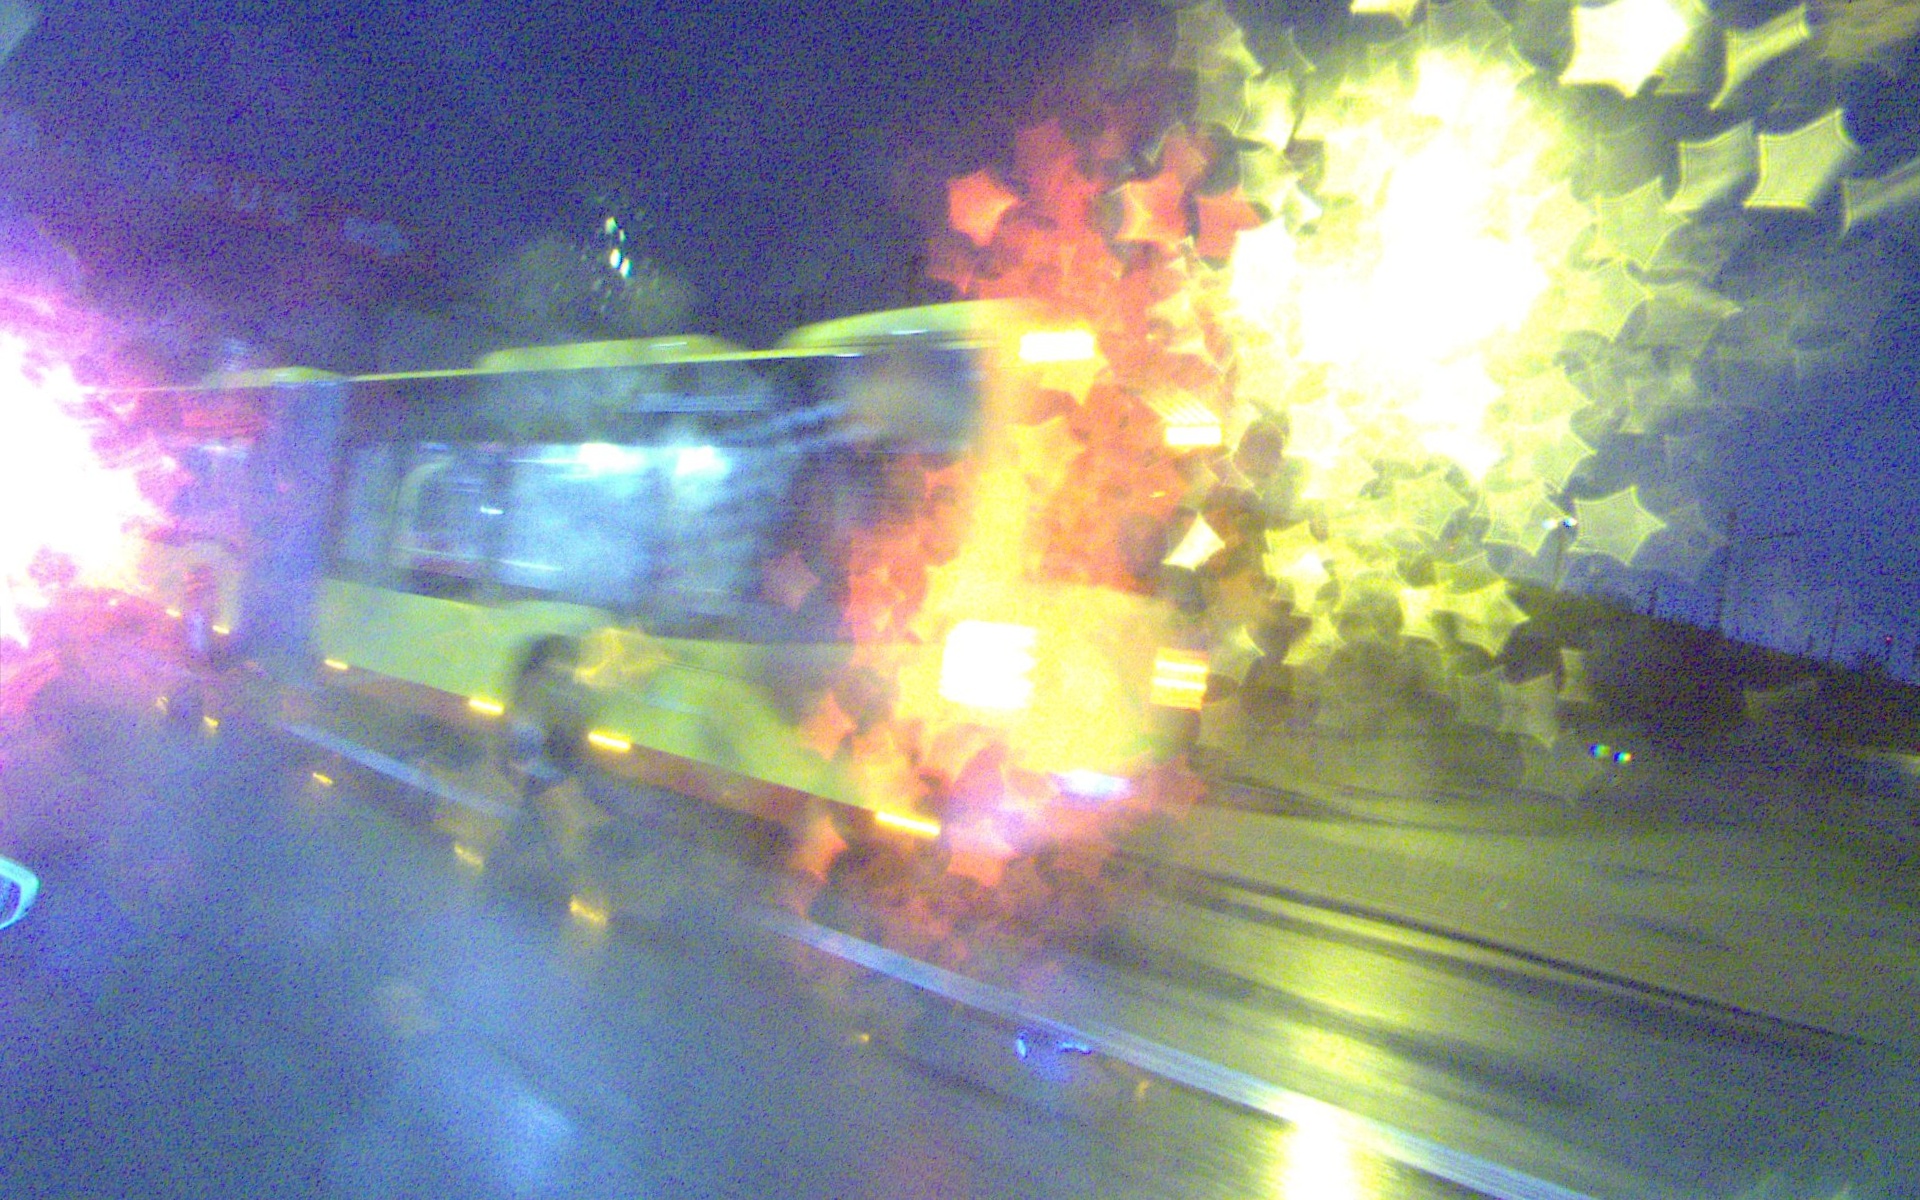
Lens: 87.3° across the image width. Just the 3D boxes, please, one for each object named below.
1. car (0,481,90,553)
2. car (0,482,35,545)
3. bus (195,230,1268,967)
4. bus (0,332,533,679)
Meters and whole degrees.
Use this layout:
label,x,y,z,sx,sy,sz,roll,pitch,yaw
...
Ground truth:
label,x,y,z,sx,sy,sz,roll,pitch,yaw
car,-24.094,-2.201,26.413,1.769,1.520,3.953,7,0,-41
car,-28.779,-2.686,29.788,1.781,1.705,3.953,7,0,-41
bus,-2.560,-0.344,8.210,8.906,3.251,3.046,8,0,35
bus,-9.782,-1.275,13.456,8.908,3.251,3.045,8,0,36
